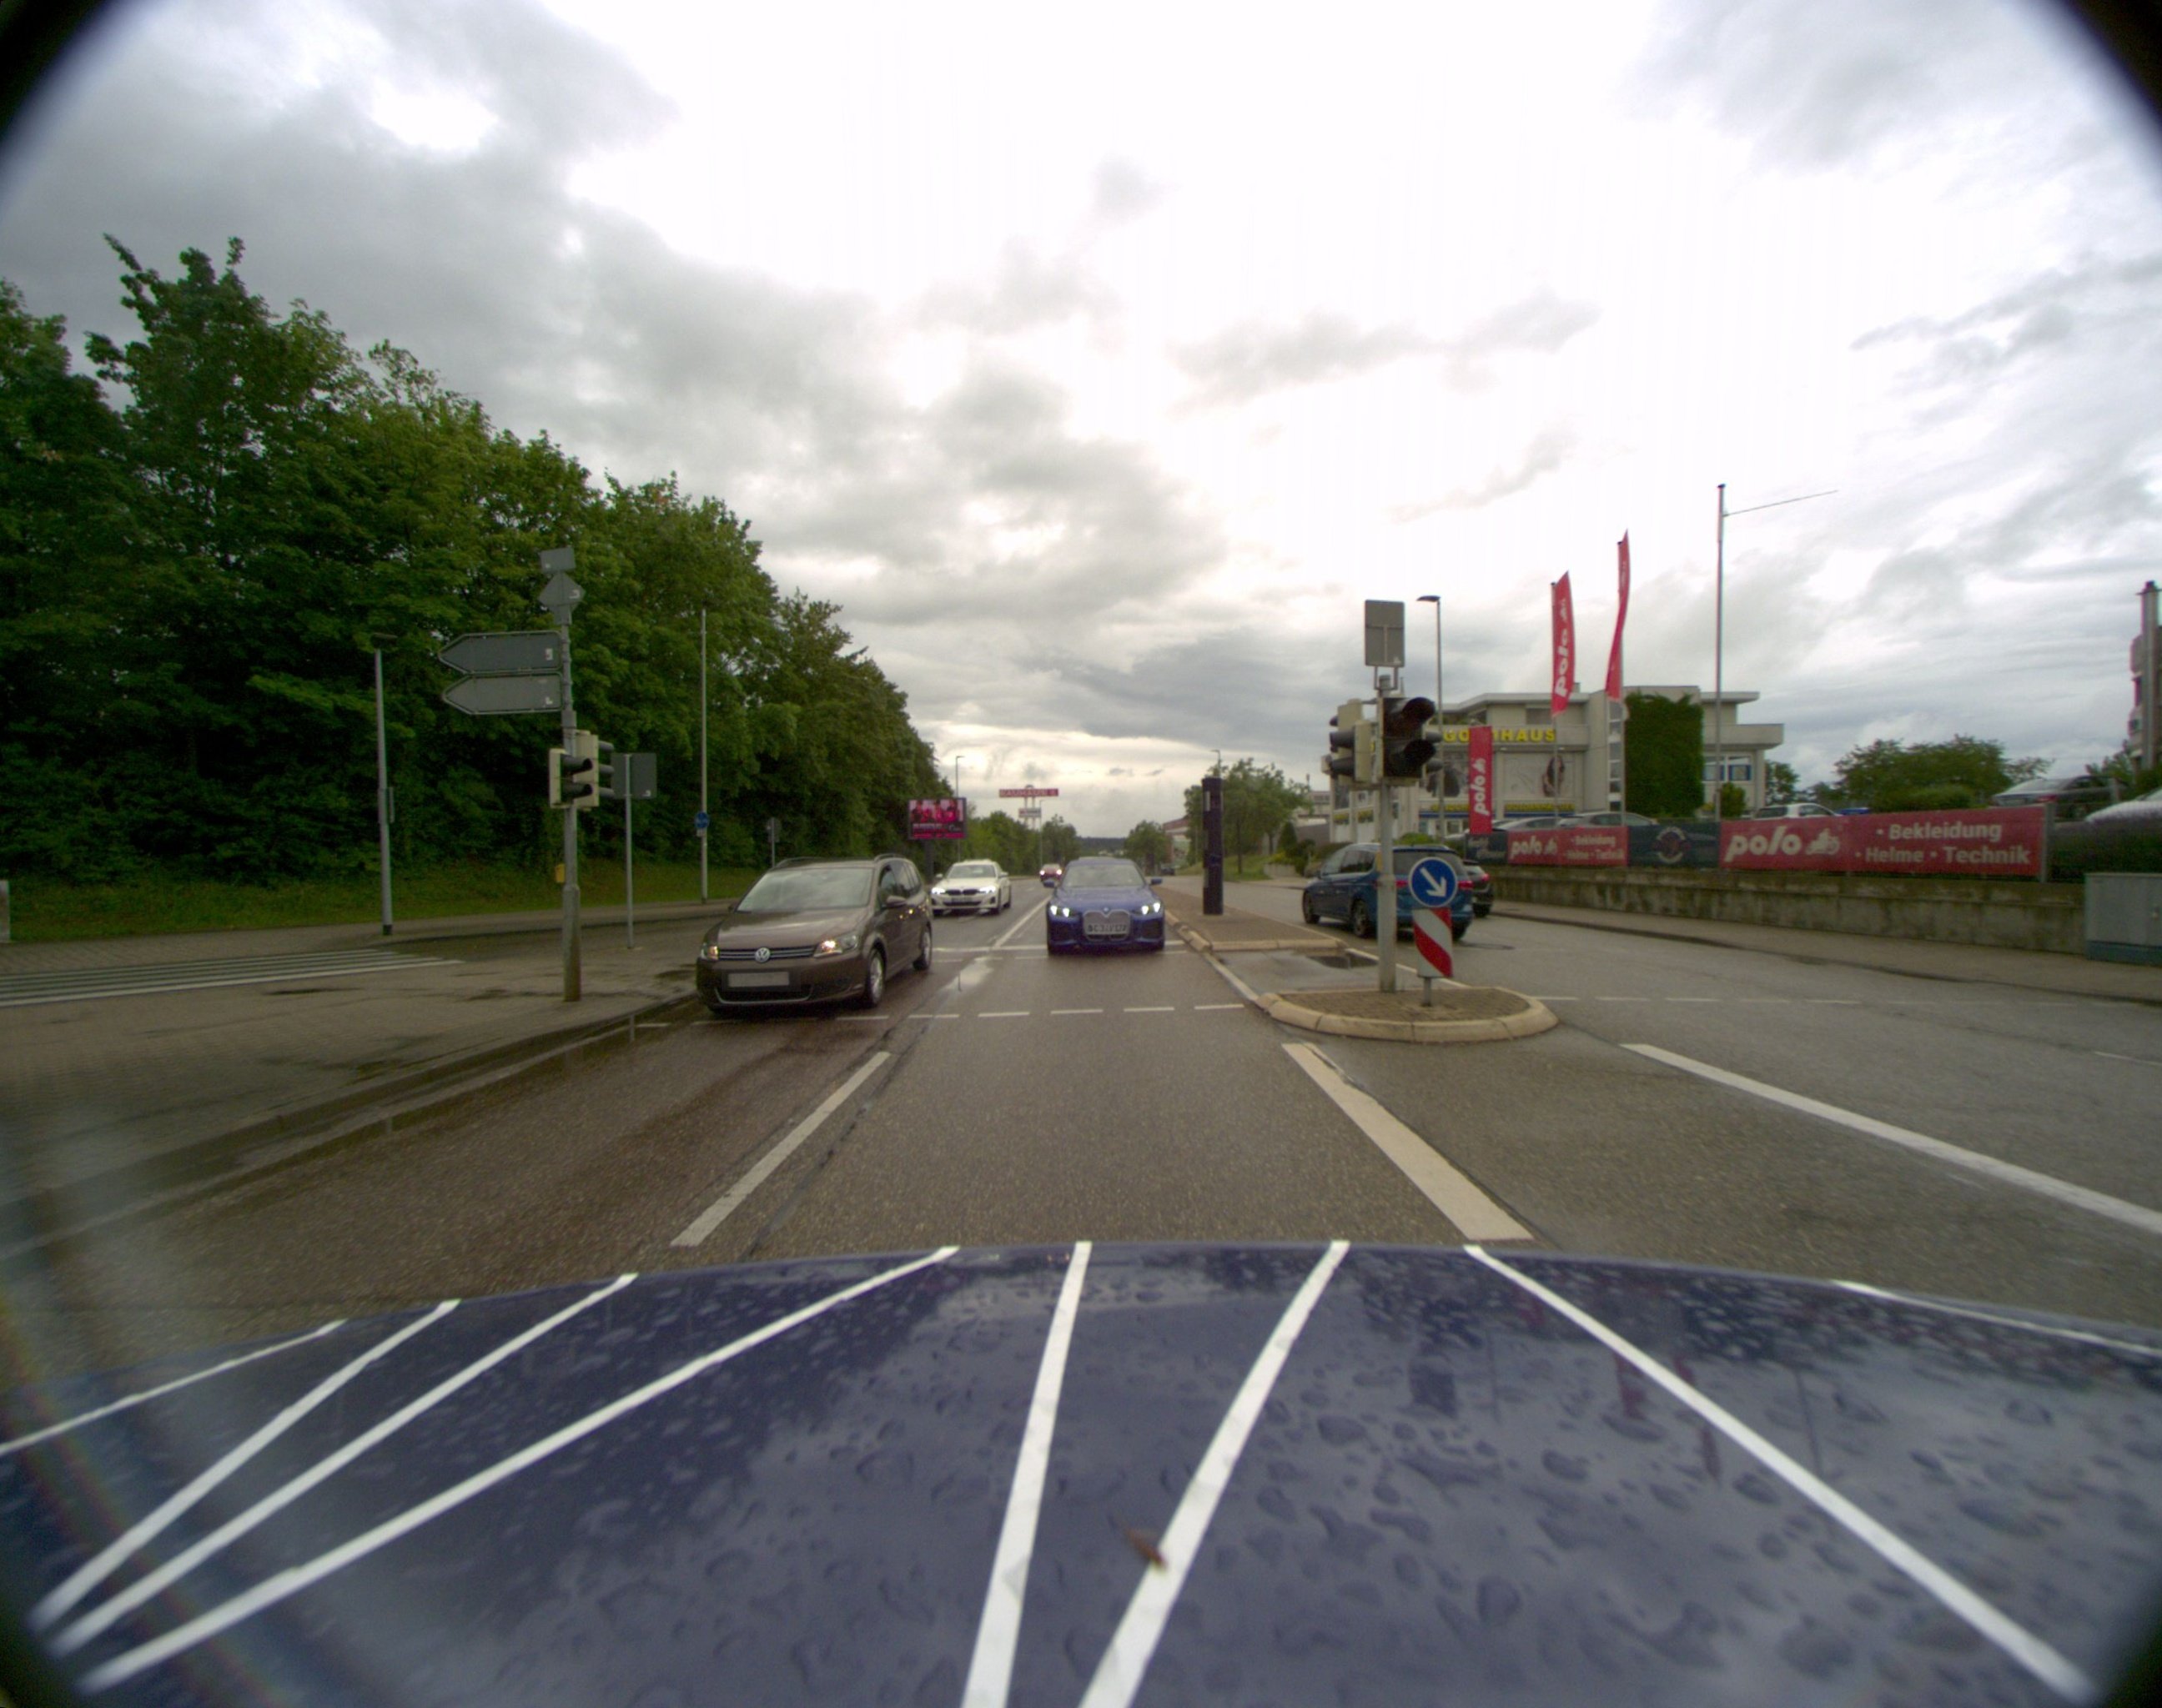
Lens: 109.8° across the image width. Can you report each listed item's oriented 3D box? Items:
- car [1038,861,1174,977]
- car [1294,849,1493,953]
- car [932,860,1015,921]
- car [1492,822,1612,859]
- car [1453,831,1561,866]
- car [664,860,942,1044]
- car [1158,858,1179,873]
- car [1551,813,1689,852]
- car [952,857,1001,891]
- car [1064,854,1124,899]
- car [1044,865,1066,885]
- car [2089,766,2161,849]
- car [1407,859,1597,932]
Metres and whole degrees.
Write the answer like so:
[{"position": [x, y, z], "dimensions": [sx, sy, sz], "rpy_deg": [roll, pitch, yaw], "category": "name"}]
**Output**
[{"position": [0.307, 0.894, 12.568], "dimensions": [1.784, 1.448, 4.596], "rpy_deg": [-2, 0, -1], "category": "car"}, {"position": [5.573, 0.743, 14.221], "dimensions": [1.844, 1.640, 4.296], "rpy_deg": [1, 0, -1], "category": "car"}, {"position": [-2.995, 0.966, 22.104], "dimensions": [1.784, 1.448, 4.679], "rpy_deg": [-2, 0, -1], "category": "car"}, {"position": [16.727, -0.464, 27.080], "dimensions": [3.395, 1.270, 1.454], "rpy_deg": [-1, 0, -2], "category": "car"}, {"position": [16.664, -0.205, 29.811], "dimensions": [3.394, 1.329, 1.454], "rpy_deg": [-1, 0, 1], "category": "car"}, {"position": [-2.949, 0.932, 9.068], "dimensions": [1.751, 1.600, 3.980], "rpy_deg": [-2, 0, 1], "category": "car"}, {"position": [11.693, 1.553, 101.414], "dimensions": [2.350, 1.879, 4.546], "rpy_deg": [0, -2, 1], "category": "car"}, {"position": [17.078, -0.653, 24.145], "dimensions": [3.395, 1.161, 1.454], "rpy_deg": [-1, 0, -2], "category": "car"}, {"position": [-5.610, 1.049, 41.236], "dimensions": [1.998, 1.717, 4.317], "rpy_deg": [-1, 0, 1], "category": "car"}, {"position": [0.503, 0.817, 27.875], "dimensions": [1.998, 1.455, 4.369], "rpy_deg": [-2, -1, 2], "category": "car"}, {"position": [-2.000, 1.648, 60.232], "dimensions": [1.634, 1.448, 3.537], "rpy_deg": [-2, 0, -1], "category": "car"}, {"position": [16.995, -0.677, 10.844], "dimensions": [3.395, 1.161, 1.454], "rpy_deg": [-1, 0, -2], "category": "car"}, {"position": [9.108, 0.823, 16.913], "dimensions": [1.922, 1.371, 4.125], "rpy_deg": [1, 0, 0], "category": "car"}]
